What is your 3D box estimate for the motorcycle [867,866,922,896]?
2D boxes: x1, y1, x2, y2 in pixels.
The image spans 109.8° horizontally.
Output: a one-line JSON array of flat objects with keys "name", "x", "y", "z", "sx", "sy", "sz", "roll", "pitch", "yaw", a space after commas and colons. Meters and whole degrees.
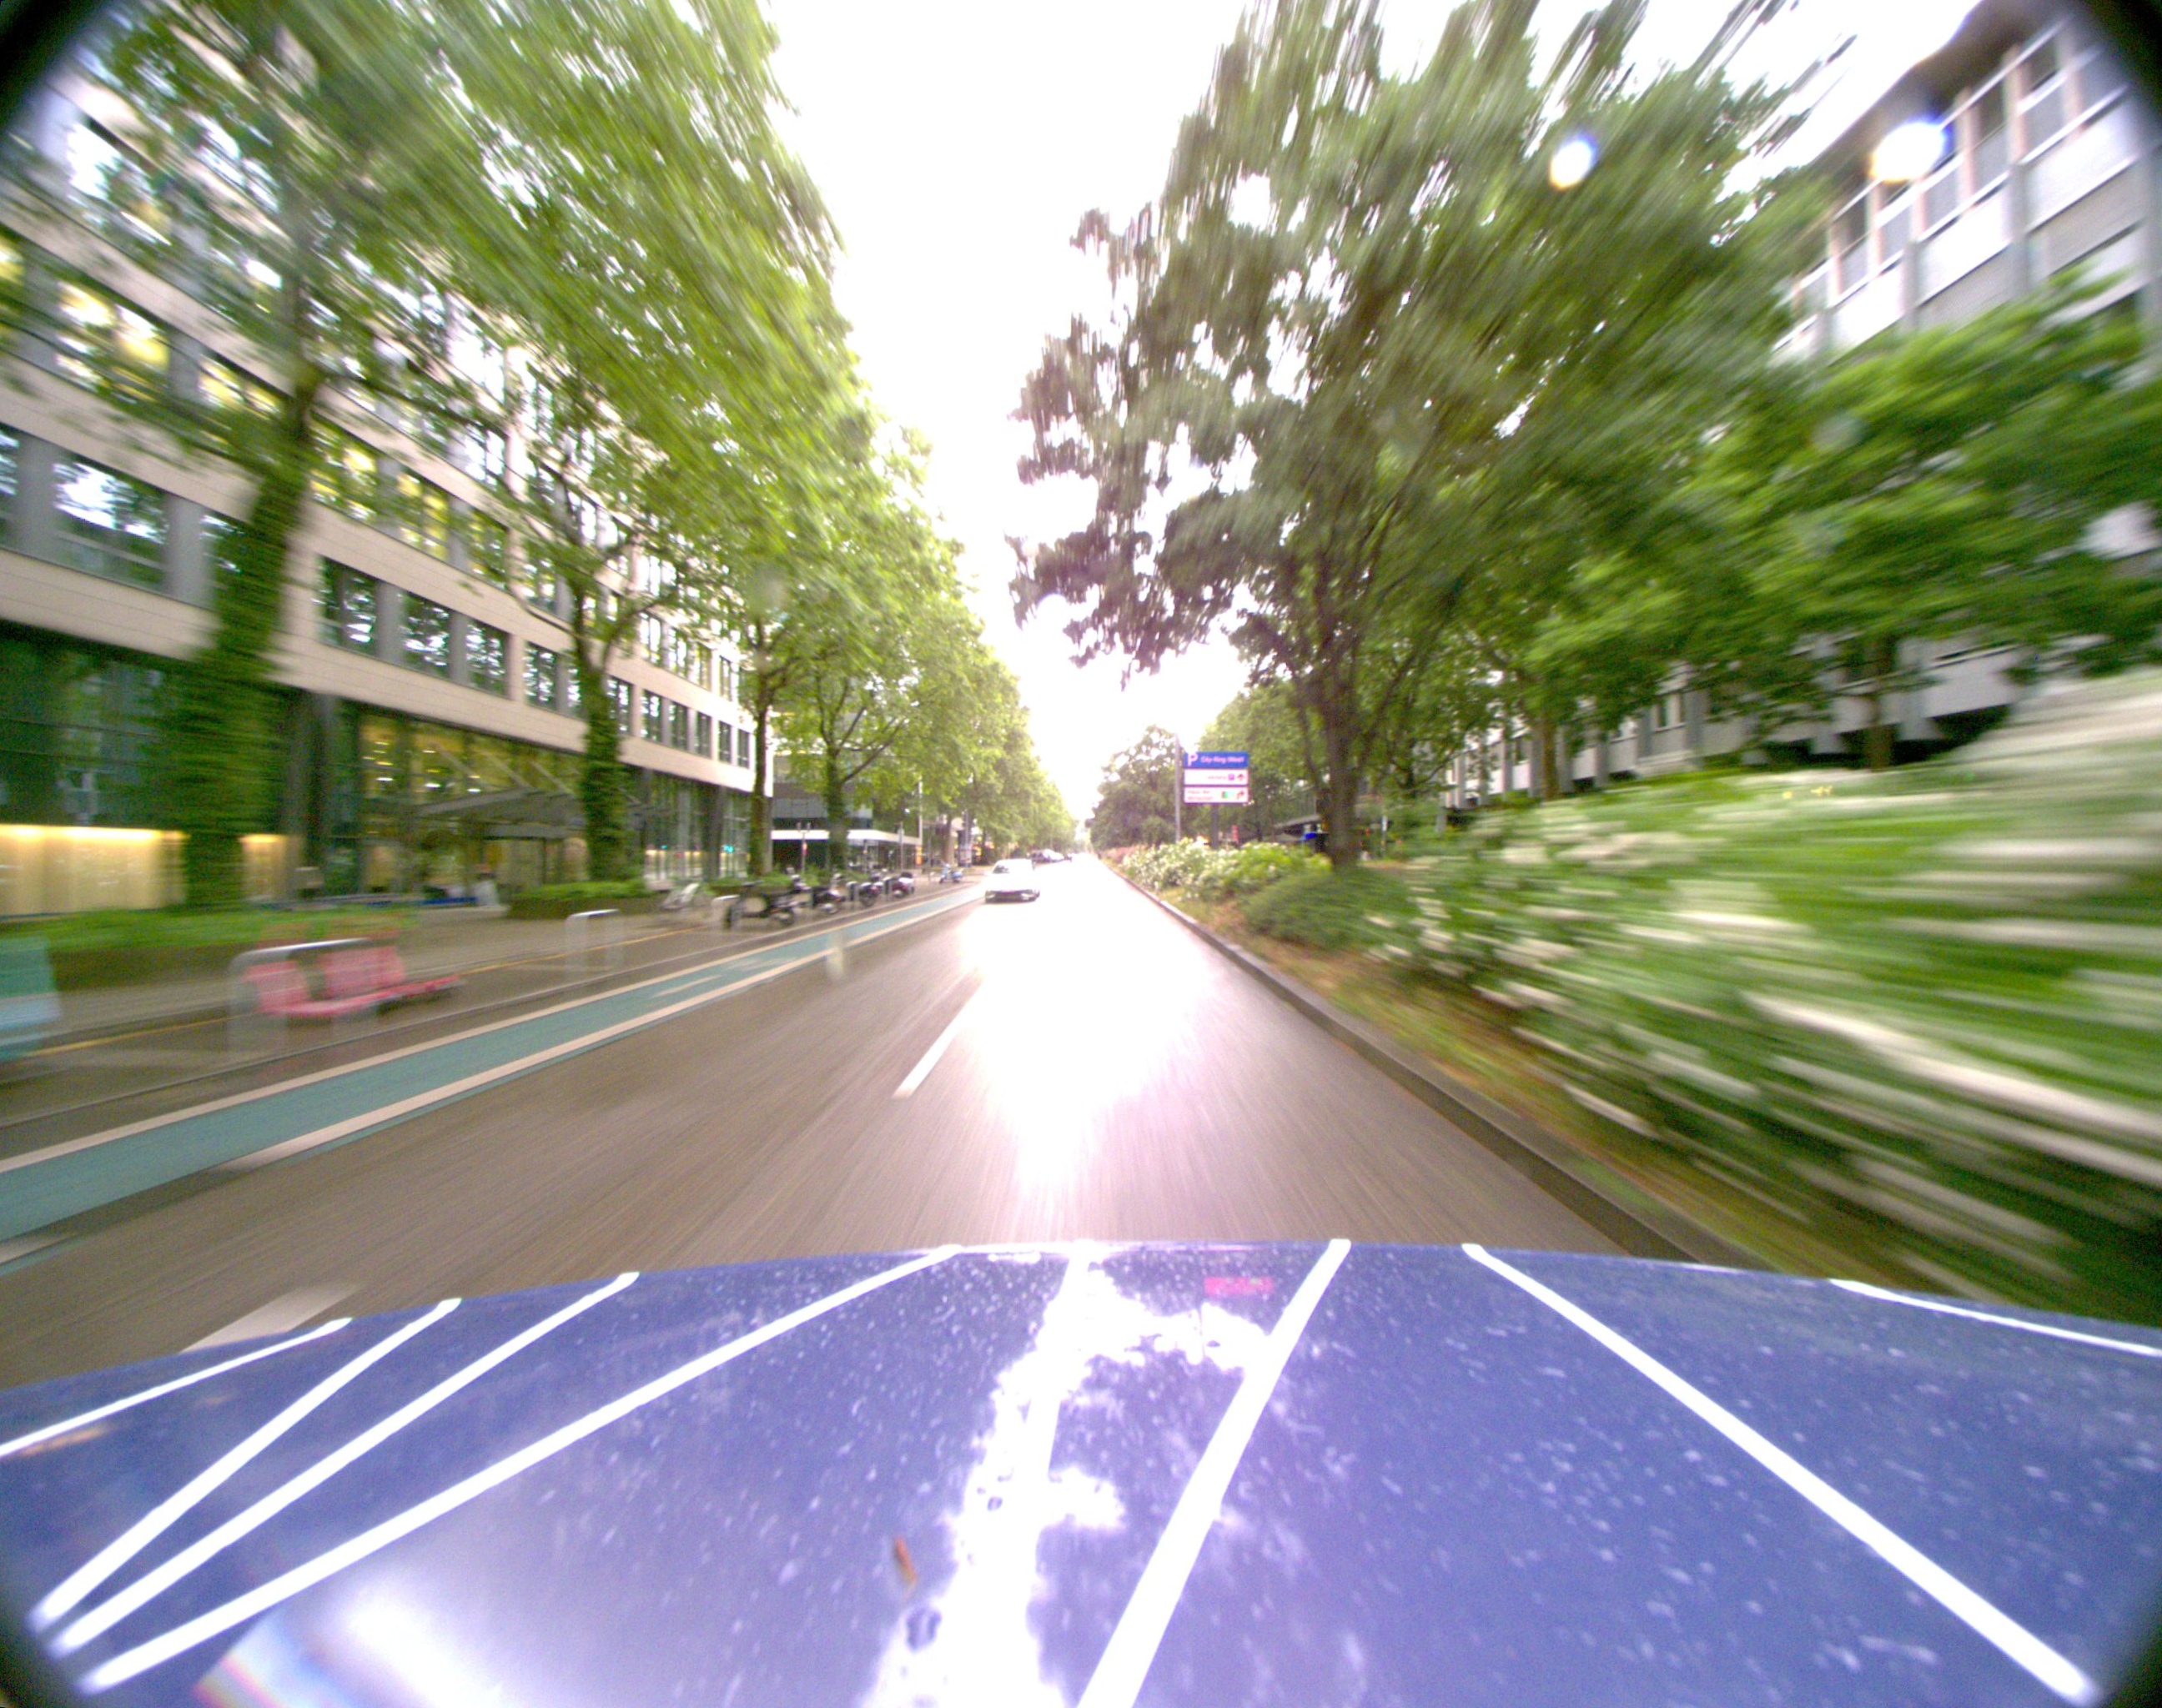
[{"name": "motorcycle", "x": -7.684, "y": 1.100, "z": 31.304, "sx": 2.064, "sy": 1.206, "sz": 0.683, "roll": 1, "pitch": 1, "yaw": -35}]

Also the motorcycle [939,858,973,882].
[{"name": "motorcycle", "x": -7.384, "y": 0.913, "z": 44.824, "sx": 0.682, "sy": 1.359, "sz": 1.950, "roll": 3, "pitch": 2, "yaw": 41}]

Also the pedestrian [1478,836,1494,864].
[{"name": "pedestrian", "x": 24.405, "y": -0.230, "z": 45.781, "sx": 0.565, "sy": 1.698, "sz": 0.686, "roll": -1, "pitch": 1, "yaw": 1}]

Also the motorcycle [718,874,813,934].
[{"name": "motorcycle", "x": -7.380, "y": 1.154, "z": 17.871, "sx": 1.963, "sy": 1.365, "sz": 0.728, "roll": 1, "pitch": -1, "yaw": -15}]

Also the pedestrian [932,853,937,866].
[{"name": "pedestrian", "x": -19.250, "y": 0.743, "z": 100.096, "sx": 0.527, "sy": 1.616, "sz": 0.719, "roll": 1, "pitch": 2, "yaw": 1}]

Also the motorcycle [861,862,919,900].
[{"name": "motorcycle", "x": -7.278, "y": 1.027, "z": 28.983, "sx": 2.062, "sy": 1.420, "sz": 0.728, "roll": 1, "pitch": -1, "yaw": -21}]

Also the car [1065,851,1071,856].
[{"name": "car", "x": -3.698, "y": -0.176, "z": 215.057, "sx": 1.598, "sy": 1.517, "sz": 3.425, "roll": -1, "pitch": 0, "yaw": 1}]

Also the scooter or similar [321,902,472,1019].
[{"name": "scooter or similar", "x": -7.866, "y": 1.200, "z": 8.759, "sx": 1.292, "sy": 1.270, "sz": 0.537, "roll": 0, "pitch": -1, "yaw": 5}]

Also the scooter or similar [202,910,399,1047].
[{"name": "scooter or similar", "x": -7.789, "y": 1.215, "z": 7.630, "sx": 1.294, "sy": 1.270, "sz": 0.536, "roll": 1, "pitch": -1, "yaw": -10}]

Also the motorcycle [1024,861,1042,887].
[{"name": "motorcycle", "x": -2.408, "y": 1.003, "z": 38.348, "sx": 0.744, "sy": 1.194, "sz": 2.235, "roll": -2, "pitch": 1, "yaw": 1}]

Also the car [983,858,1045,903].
[{"name": "car", "x": -2.384, "y": 0.921, "z": 27.913, "sx": 1.795, "sy": 1.463, "sz": 3.793, "roll": -2, "pitch": 0, "yaw": 1}]

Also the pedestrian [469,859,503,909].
[{"name": "pedestrian", "x": -20.543, "y": 1.032, "z": 26.248, "sx": 0.727, "sy": 1.683, "sz": 0.830, "roll": 0, "pitch": 0, "yaw": 43}]

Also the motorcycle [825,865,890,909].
[{"name": "motorcycle", "x": -7.251, "y": 1.066, "z": 24.612, "sx": 1.964, "sy": 1.365, "sz": 0.728, "roll": 1, "pitch": -1, "yaw": -21}]

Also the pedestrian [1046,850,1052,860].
[{"name": "pedestrian", "x": -5.978, "y": 0.185, "z": 142.934, "sx": 0.893, "sy": 1.839, "sz": 0.786, "roll": -2, "pitch": 1, "yaw": -17}]

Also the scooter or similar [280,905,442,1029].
[{"name": "scooter or similar", "x": -7.854, "y": 1.206, "z": 8.315, "sx": 1.292, "sy": 1.270, "sz": 0.537, "roll": 0, "pitch": -1, "yaw": 5}]

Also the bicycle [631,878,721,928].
[{"name": "bicycle", "x": -9.465, "y": 1.118, "z": 17.812, "sx": 0.637, "sy": 1.022, "sz": 1.766, "roll": -1, "pitch": 1, "yaw": 29}]

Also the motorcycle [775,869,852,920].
[{"name": "motorcycle", "x": -7.426, "y": 1.104, "z": 21.146, "sx": 1.964, "sy": 1.365, "sz": 0.728, "roll": 1, "pitch": -1, "yaw": -21}]

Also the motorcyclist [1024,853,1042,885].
[{"name": "motorcyclist", "x": -2.417, "y": 0.736, "z": 38.269, "sx": 0.744, "sy": 1.575, "sz": 1.059, "roll": -2, "pitch": 1, "yaw": 1}]

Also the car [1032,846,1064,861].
[{"name": "car", "x": -6.515, "y": -0.101, "z": 149.510, "sx": 6.267, "sy": 2.665, "sz": 2.326, "roll": -1, "pitch": 1, "yaw": 36}]

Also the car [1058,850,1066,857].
[{"name": "car", "x": -4.386, "y": -0.027, "z": 173.155, "sx": 1.598, "sy": 1.517, "sz": 3.425, "roll": -1, "pitch": 0, "yaw": 1}]

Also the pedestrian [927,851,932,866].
[{"name": "pedestrian", "x": -19.948, "y": 0.605, "z": 99.932, "sx": 0.523, "sy": 1.848, "sz": 0.704, "roll": 1, "pitch": 2, "yaw": 1}]

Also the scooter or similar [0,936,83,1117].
[{"name": "scooter or similar", "x": -8.239, "y": 1.235, "z": 5.546, "sx": 1.292, "sy": 1.228, "sz": 0.489, "roll": 0, "pitch": -1, "yaw": 3}]
